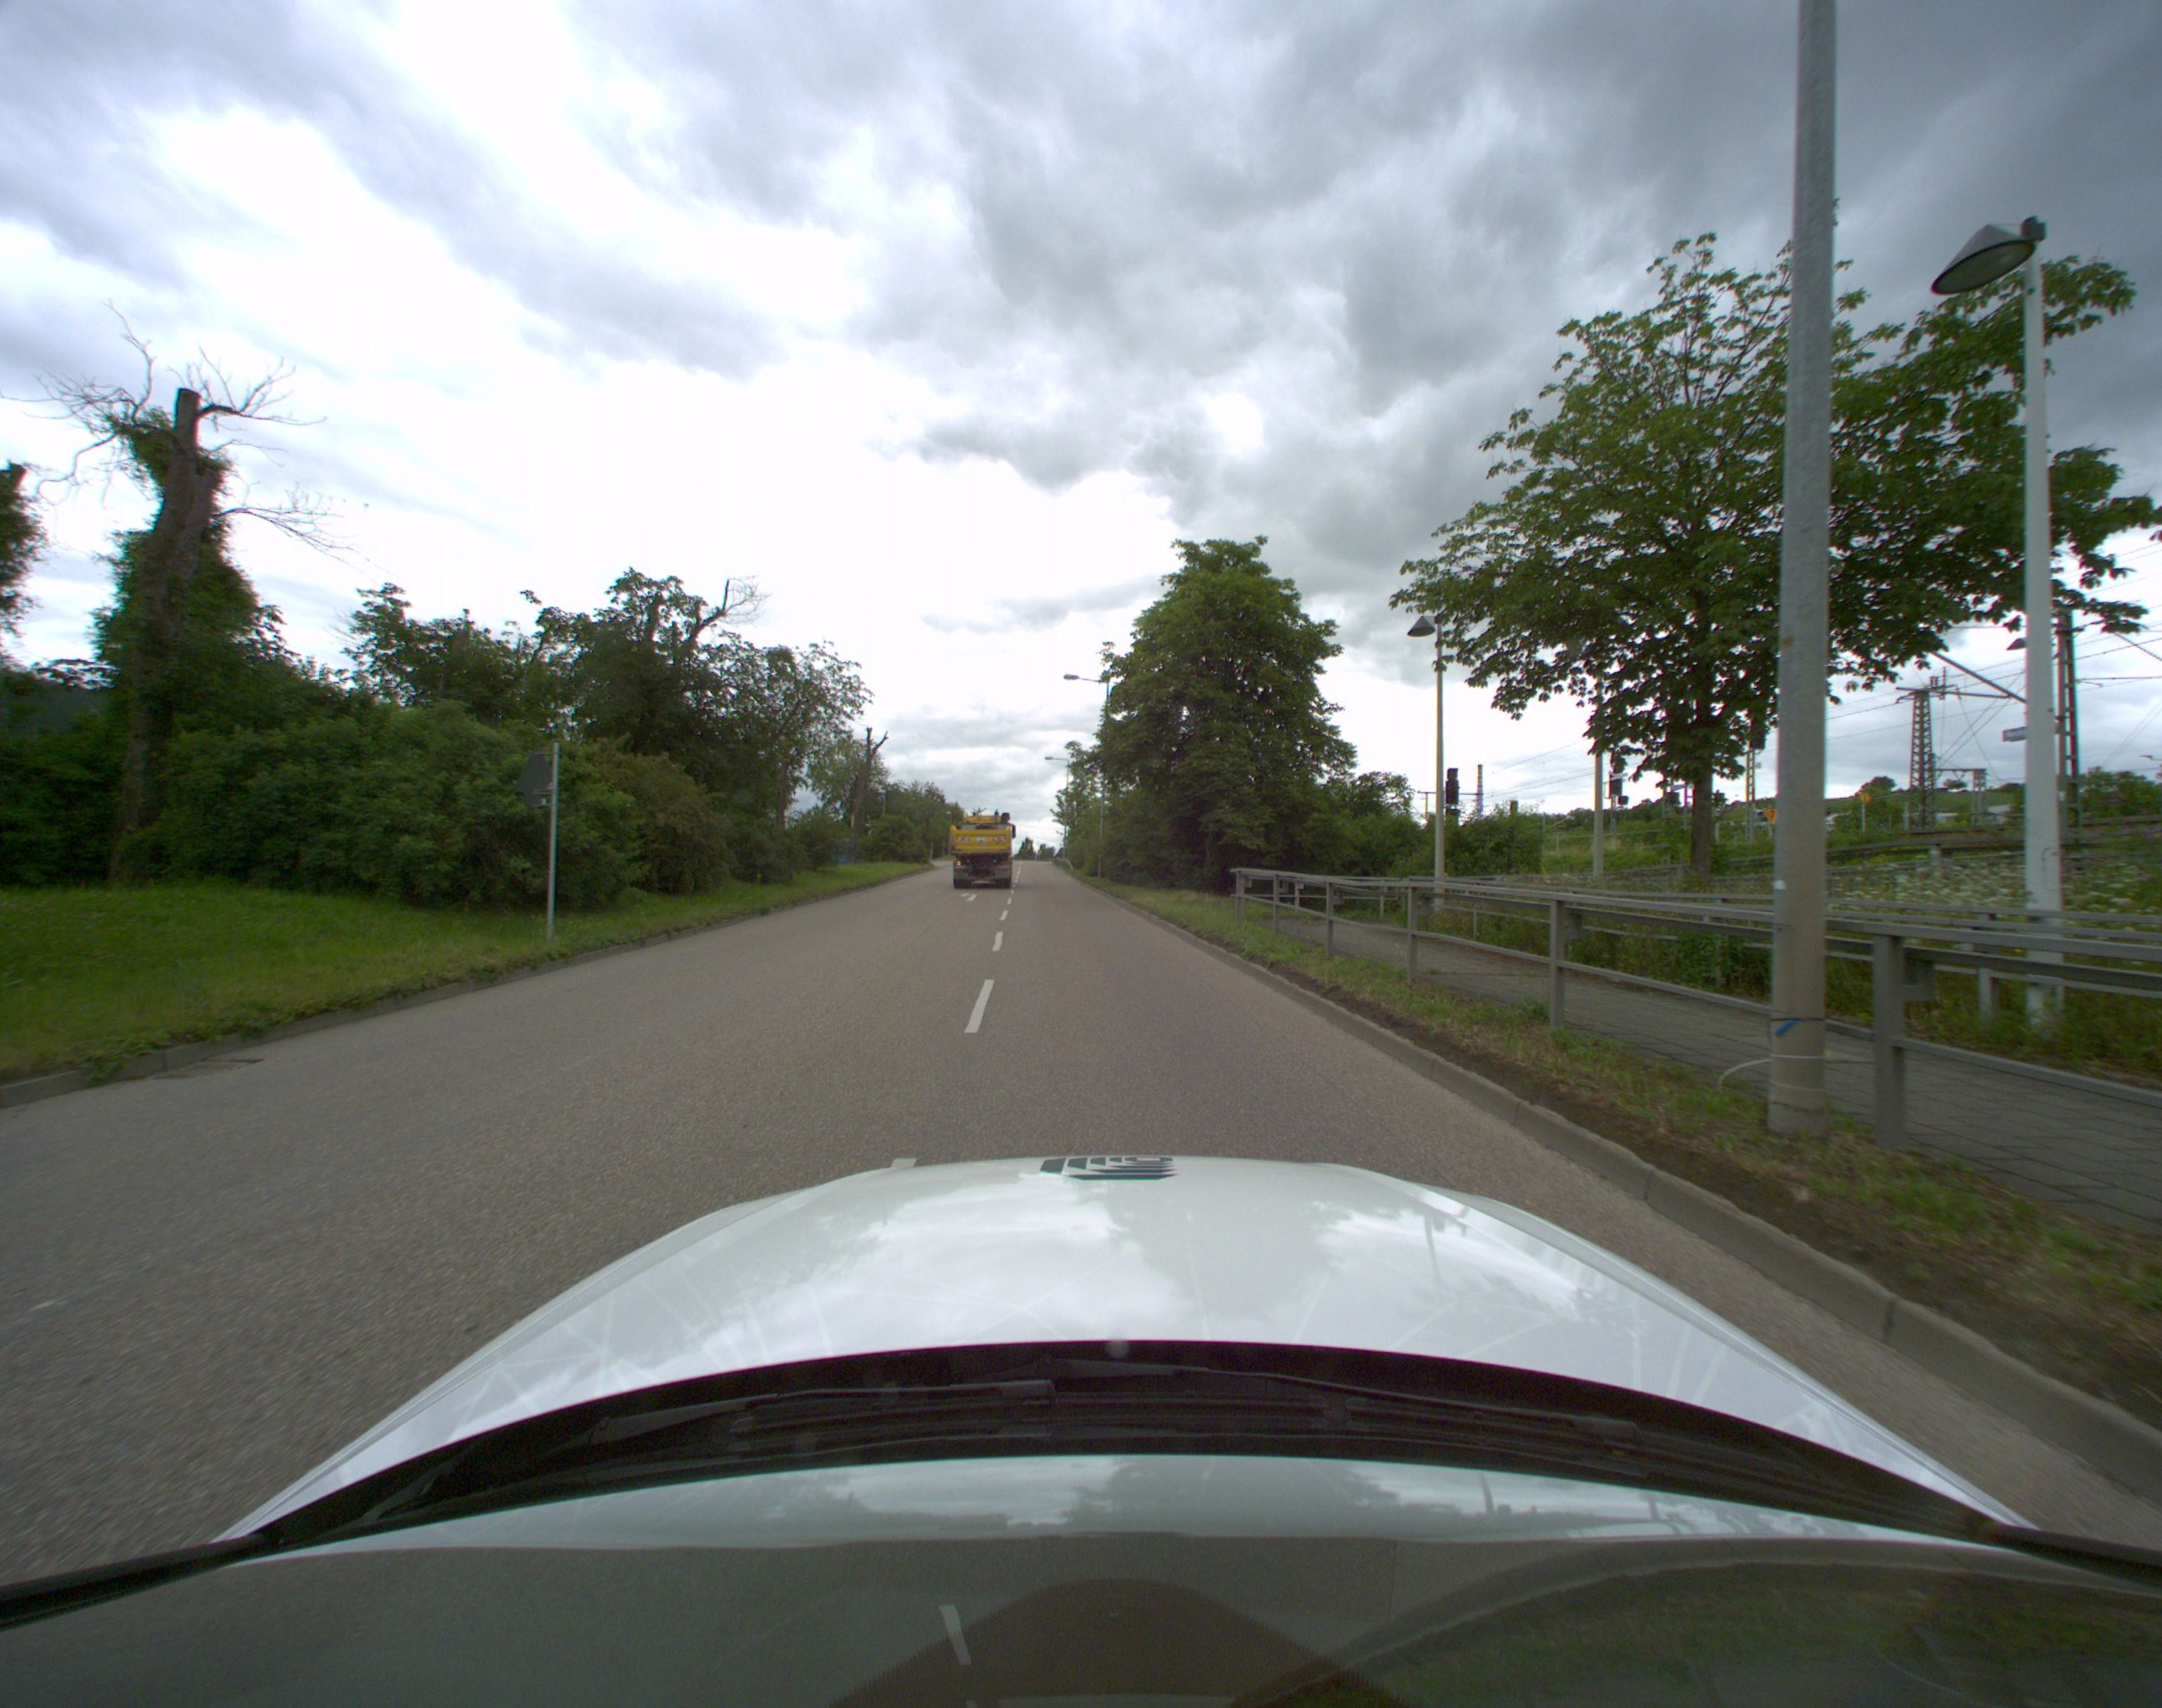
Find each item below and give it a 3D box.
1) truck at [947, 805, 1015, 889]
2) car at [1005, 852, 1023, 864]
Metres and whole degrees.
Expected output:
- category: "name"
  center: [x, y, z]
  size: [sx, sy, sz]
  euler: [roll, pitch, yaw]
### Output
- category: "truck"
  center: [-4.531, -0.334, 38.212]
  size: [2.760, 3.483, 8.116]
  euler: [-1, 0, -4]
- category: "car"
  center: [-9.700, 0.588, 118.401]
  size: [1.984, 1.640, 4.005]
  euler: [1, 0, 5]
